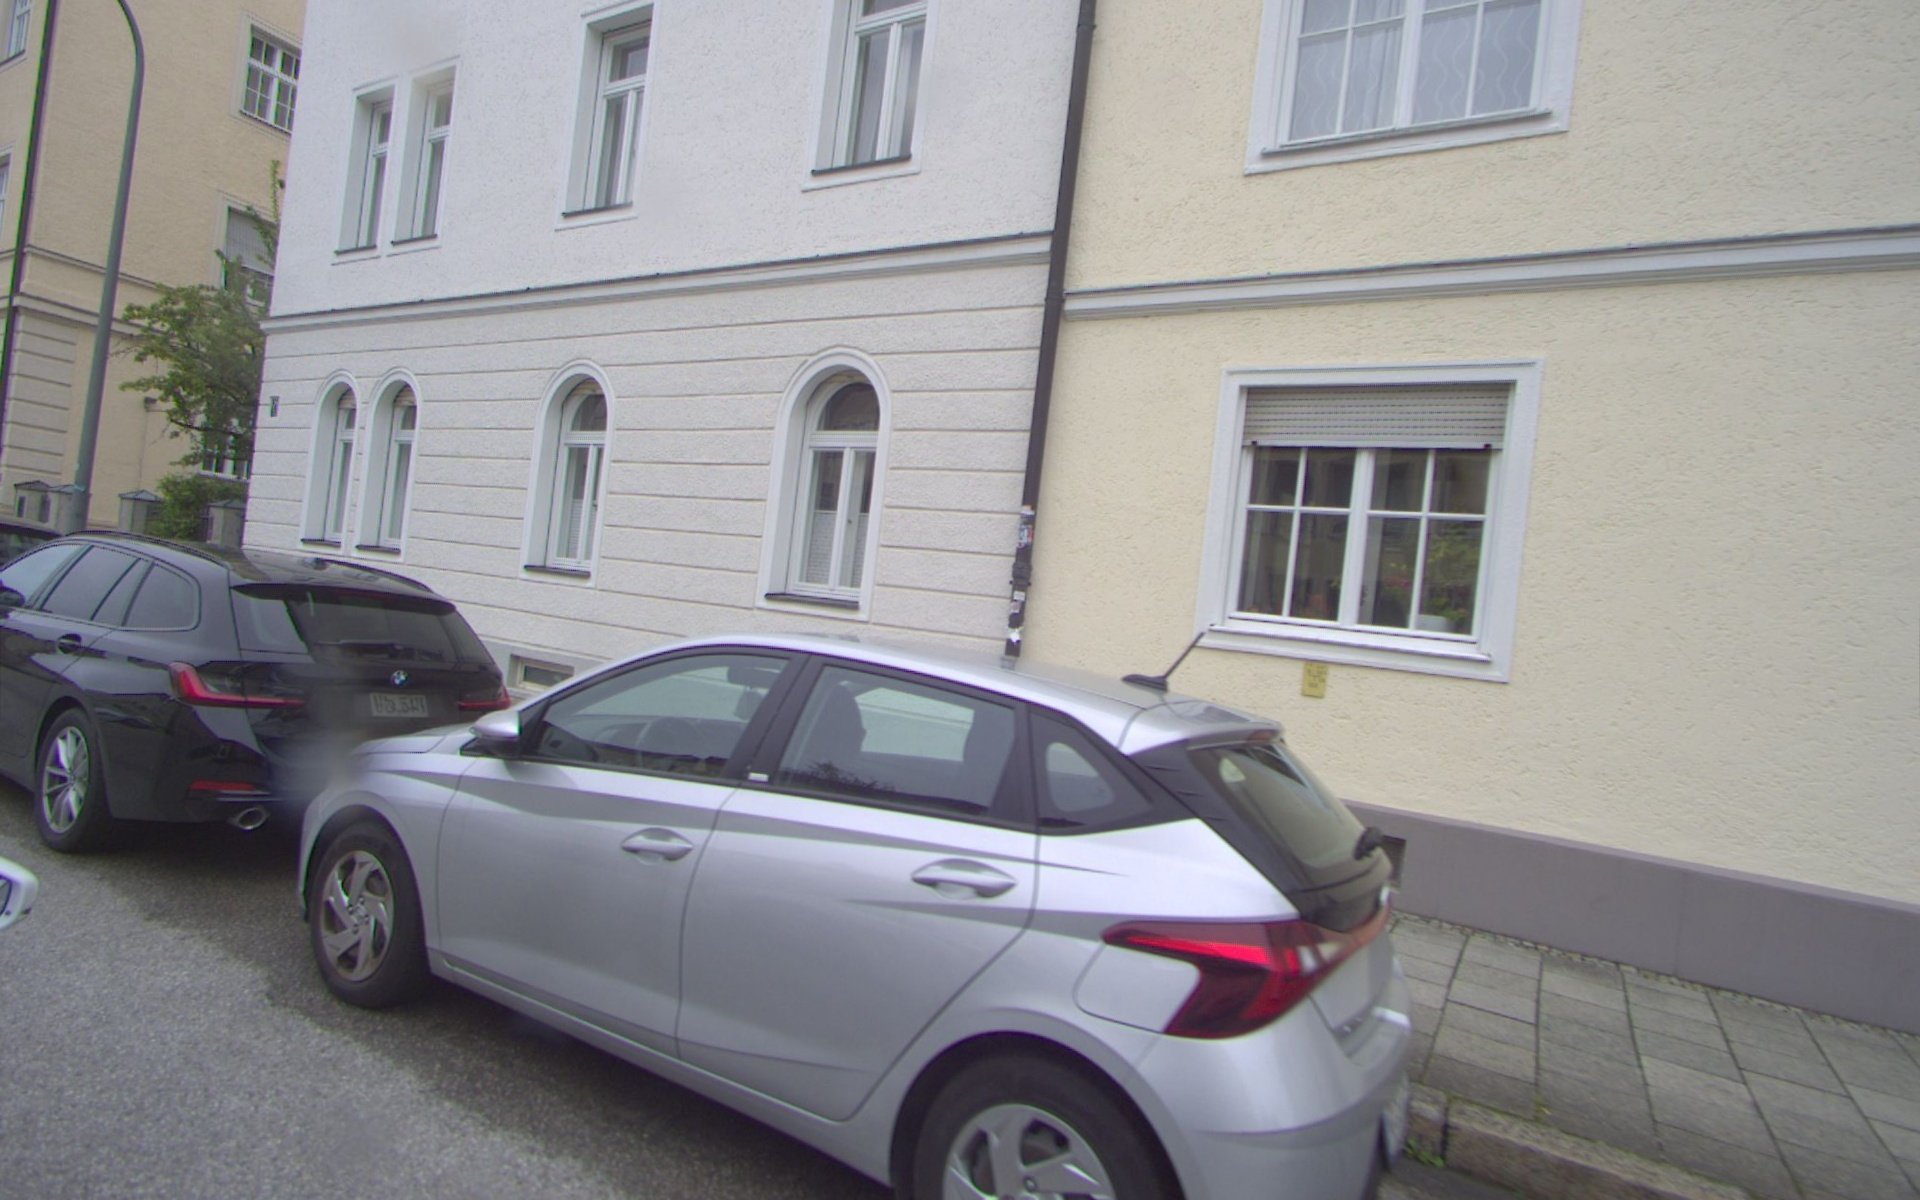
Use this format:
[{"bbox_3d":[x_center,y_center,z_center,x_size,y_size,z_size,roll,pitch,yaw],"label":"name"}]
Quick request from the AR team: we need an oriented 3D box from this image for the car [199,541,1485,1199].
[{"bbox_3d":[-0.578,0.803,3.521,4.116,1.466,1.729,7,-2,30],"label":"car"}]

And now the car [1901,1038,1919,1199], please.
[{"bbox_3d":[3.817,1.258,0.939,3.925,1.561,1.655,7,-2,29],"label":"car"}]

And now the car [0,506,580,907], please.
[{"bbox_3d":[-4.627,0.337,5.928,4.599,1.466,1.880,7,-2,31],"label":"car"}]

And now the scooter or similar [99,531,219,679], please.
[{"bbox_3d":[-7.473,0.037,9.376,1.030,1.245,0.428,7,-1,31],"label":"scooter or similar"}]

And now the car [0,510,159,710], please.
[{"bbox_3d":[-8.880,-0.112,8.565,4.016,1.466,1.831,7,-2,31],"label":"car"}]
